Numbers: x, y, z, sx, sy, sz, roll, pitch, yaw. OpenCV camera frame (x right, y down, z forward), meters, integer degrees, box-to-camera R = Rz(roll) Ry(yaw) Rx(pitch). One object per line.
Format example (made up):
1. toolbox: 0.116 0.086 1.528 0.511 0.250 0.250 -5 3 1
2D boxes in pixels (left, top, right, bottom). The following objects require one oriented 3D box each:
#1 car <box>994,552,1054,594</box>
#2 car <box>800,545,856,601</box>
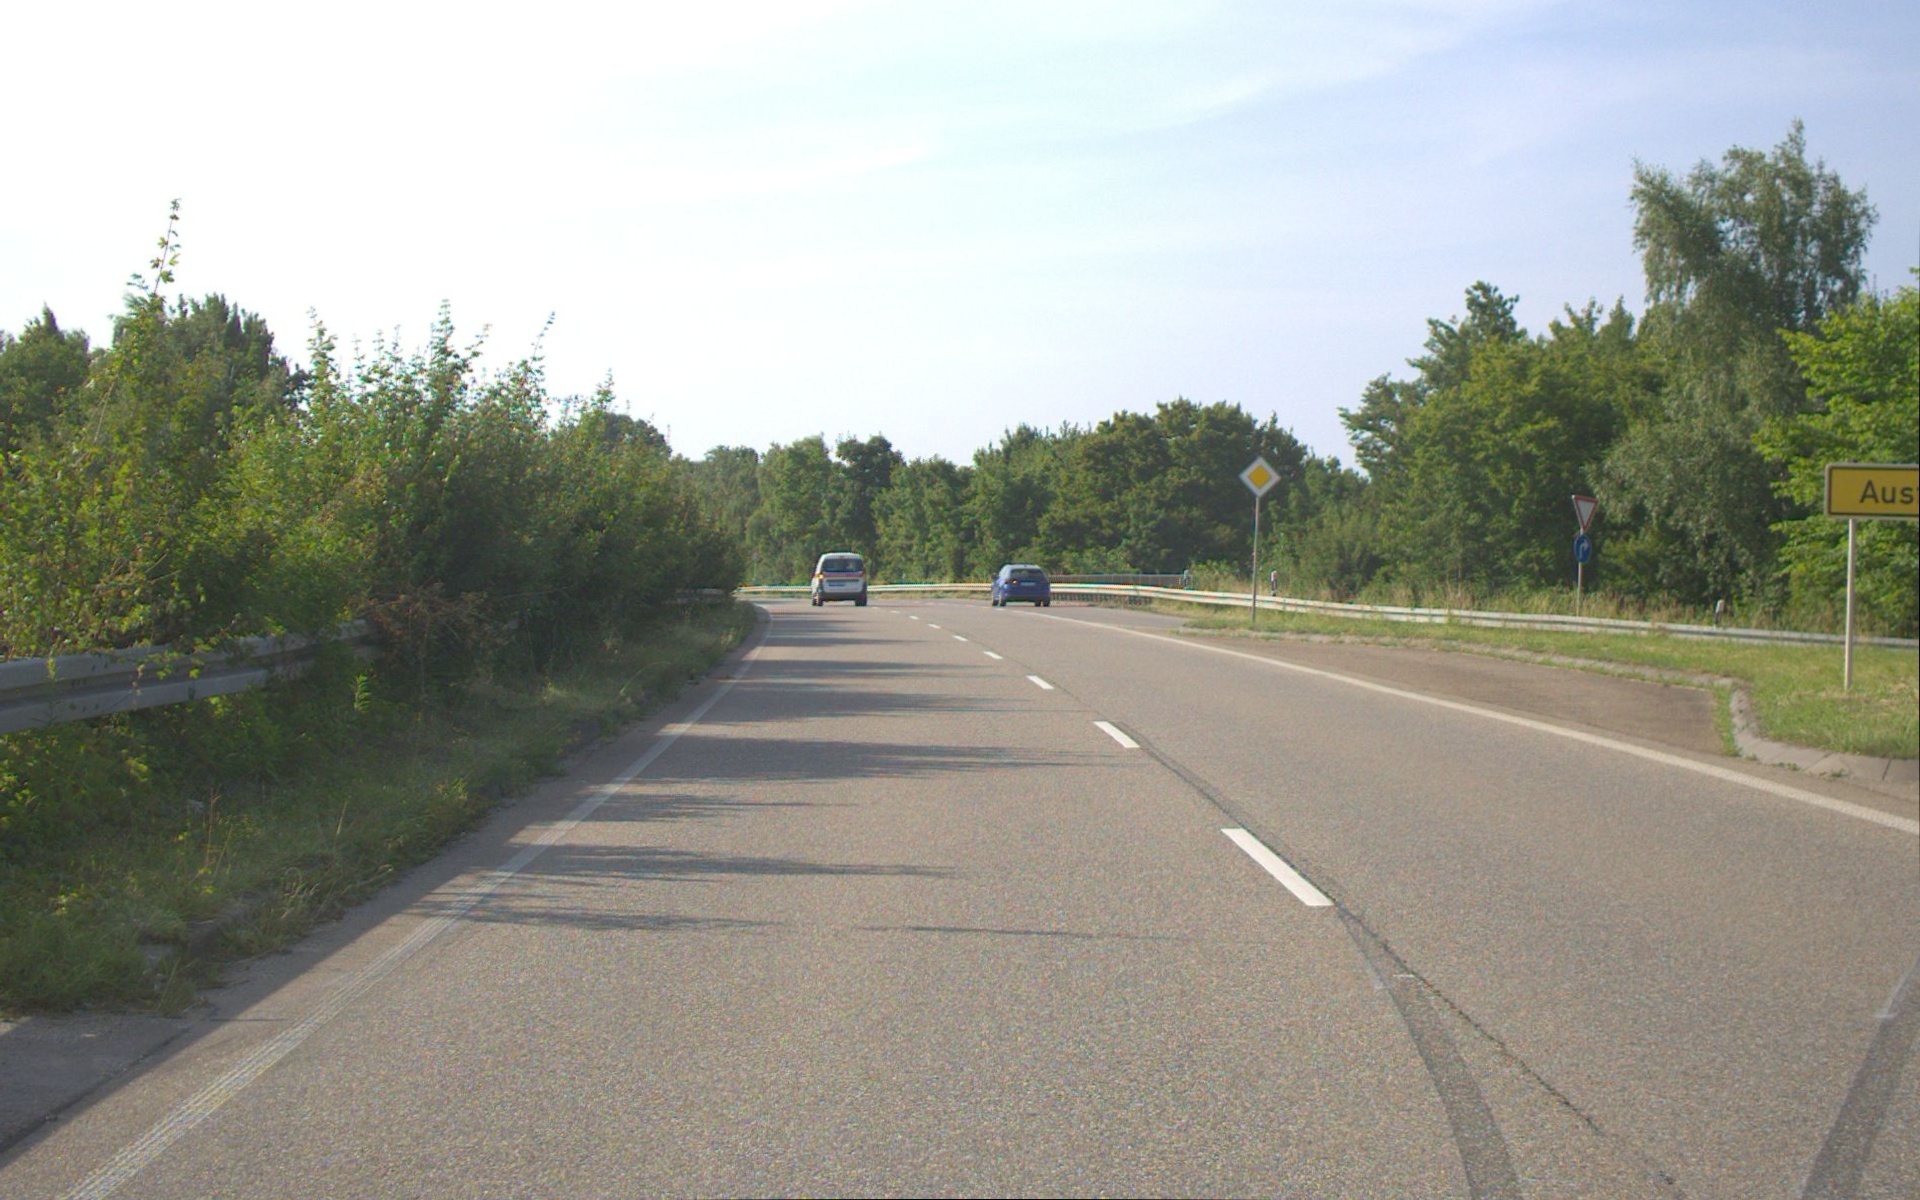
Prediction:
1. car: 2.235 -0.932 120.625 1.779 1.447 4.000 0 0 -3
2. car: -4.549 -0.929 117.996 1.765 1.875 4.001 0 0 -4
